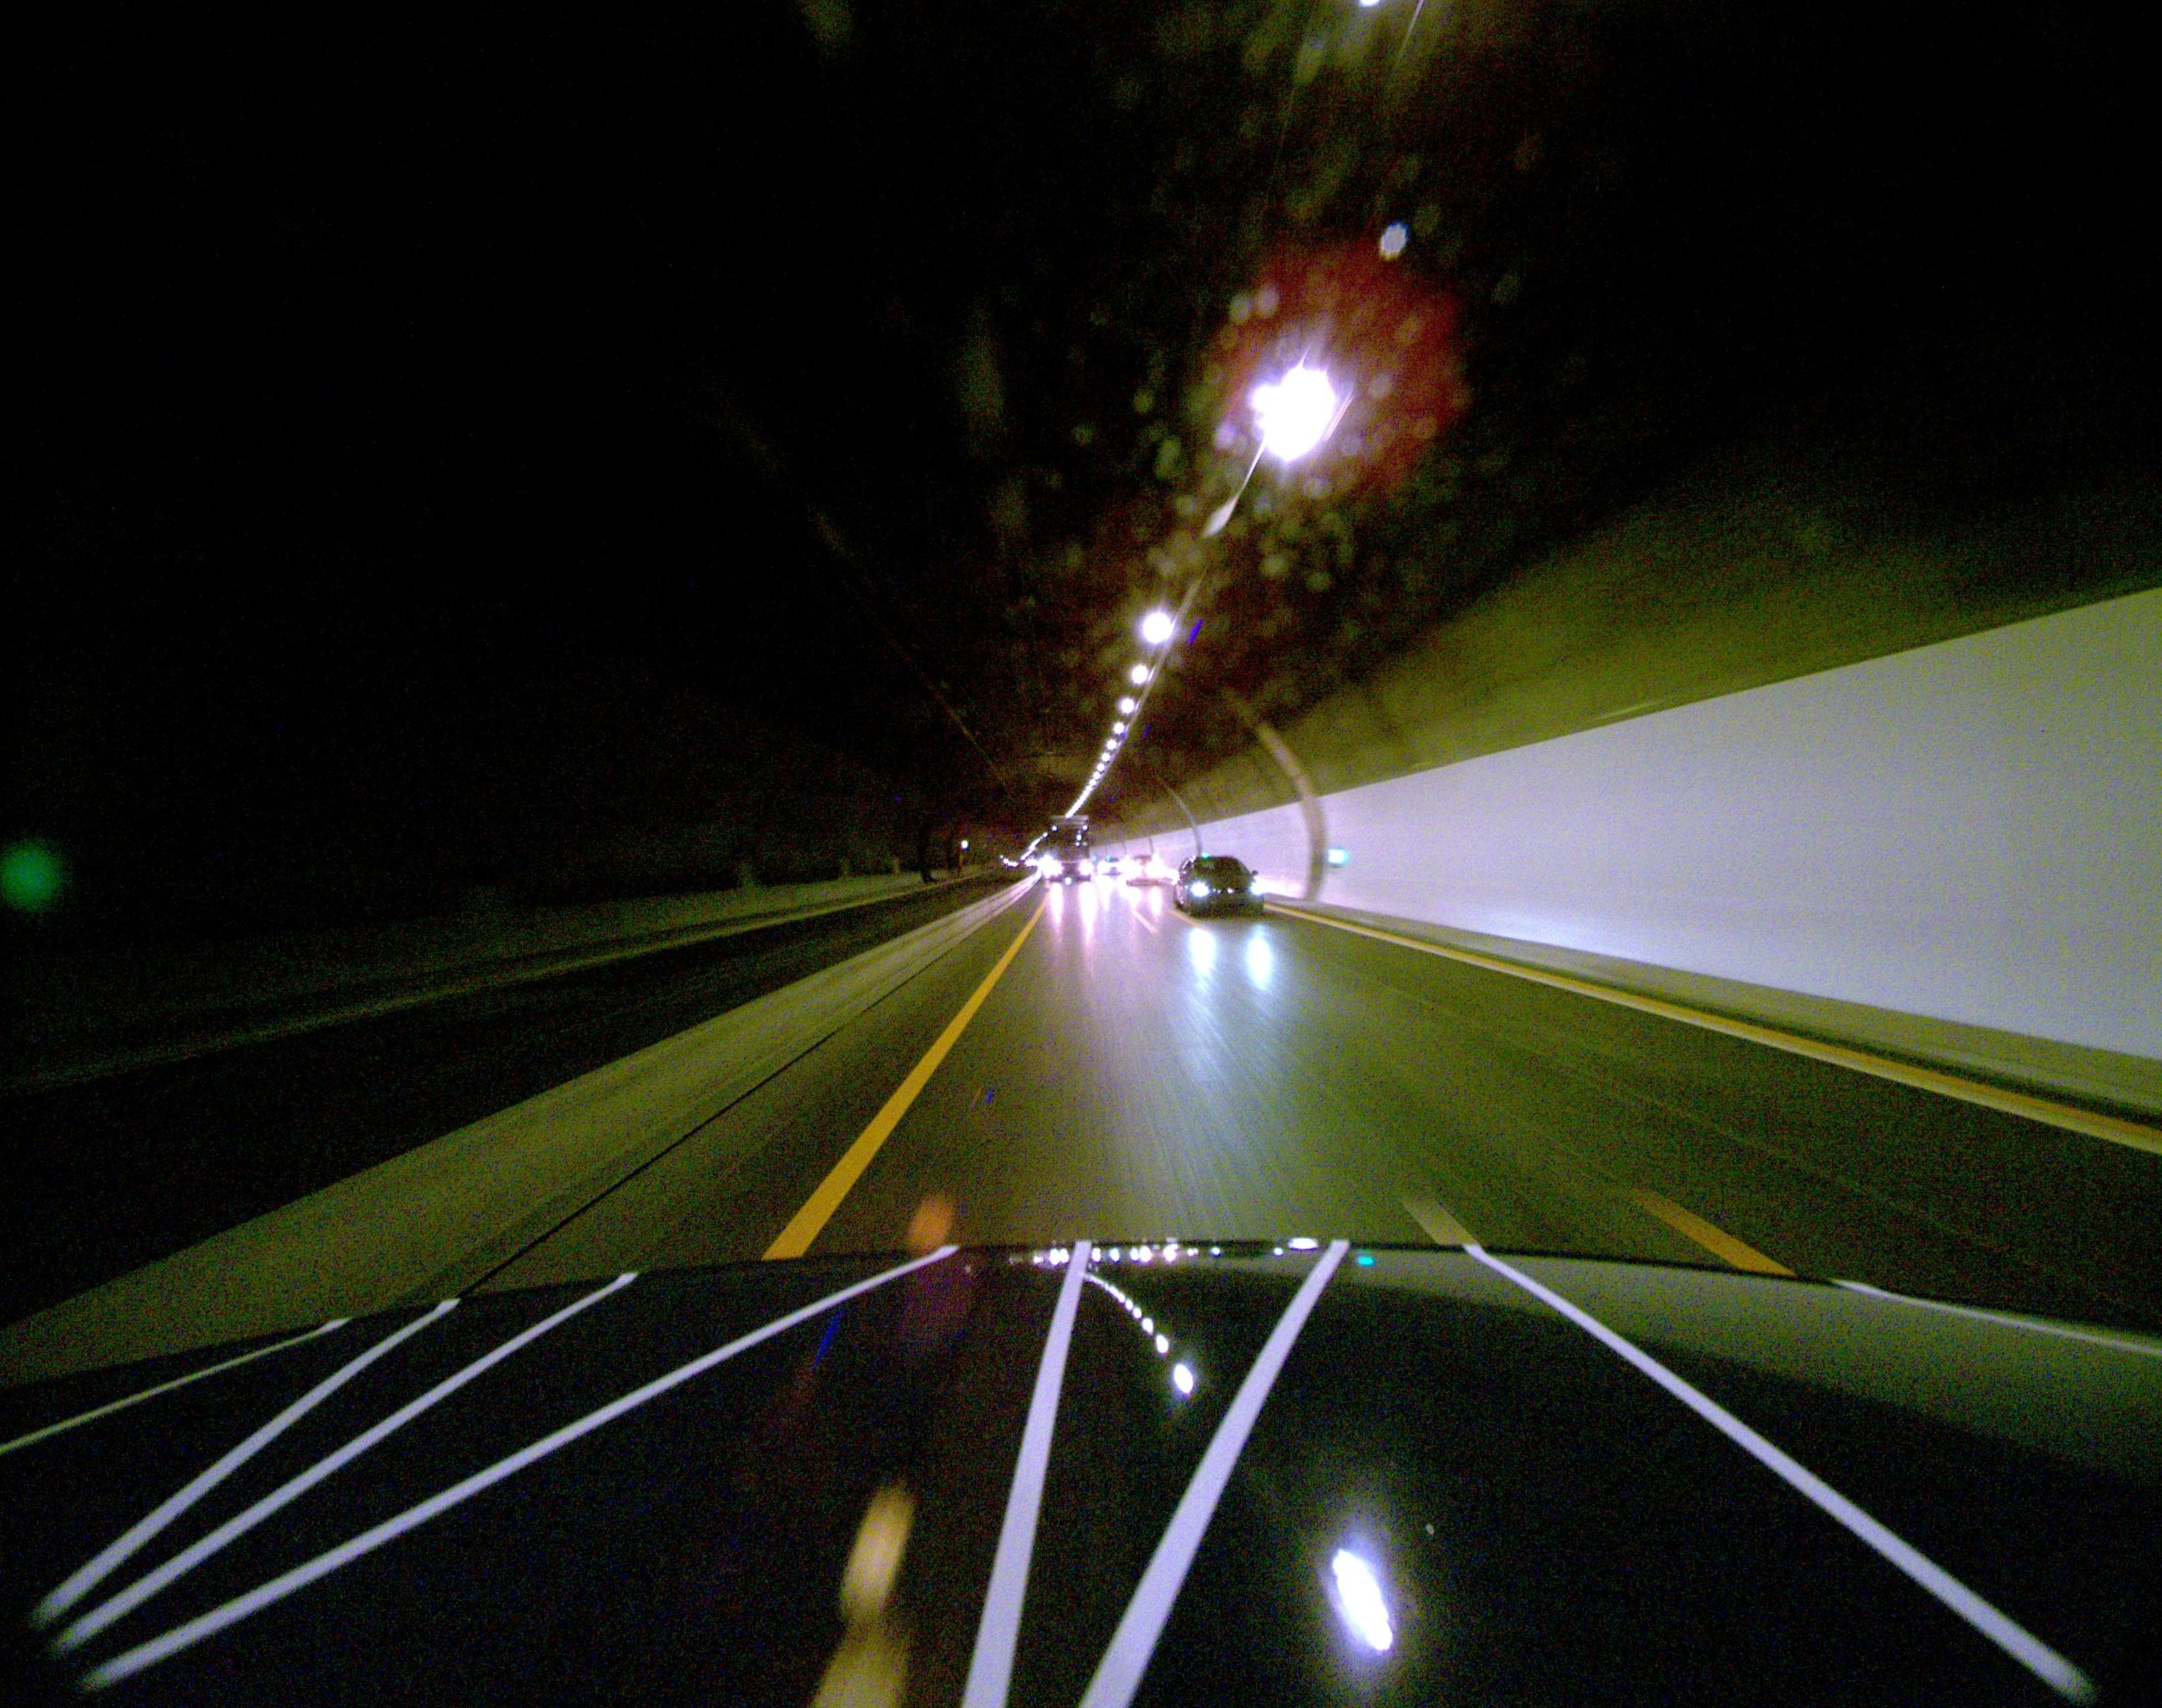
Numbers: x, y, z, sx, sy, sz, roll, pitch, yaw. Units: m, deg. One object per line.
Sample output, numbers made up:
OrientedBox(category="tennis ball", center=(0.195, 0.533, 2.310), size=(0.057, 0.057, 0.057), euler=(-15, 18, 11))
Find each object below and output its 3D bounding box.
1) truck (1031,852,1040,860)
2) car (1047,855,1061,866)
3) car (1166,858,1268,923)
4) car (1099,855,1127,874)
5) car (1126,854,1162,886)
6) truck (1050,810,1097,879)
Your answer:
OrientedBox(category="truck", center=(-15.067, 0.664, 250.356), size=(2.610, 2.723, 6.394), euler=(-2, 0, -6))
OrientedBox(category="car", center=(-4.181, 0.962, 117.562), size=(1.999, 1.524, 3.999), euler=(-2, 0, -2))
OrientedBox(category="car", center=(3.402, 0.857, 19.939), size=(1.782, 1.430, 4.882), euler=(-2, 0, 0))
OrientedBox(category="car", center=(2.601, 0.819, 61.981), size=(1.910, 1.412, 4.060), euler=(-2, 0, -2))
OrientedBox(category="car", center=(3.210, 0.792, 39.047), size=(1.531, 1.508, 2.651), euler=(-2, 0, -1))
OrientedBox(category="truck", center=(-0.580, -0.551, 50.215), size=(2.742, 4.127, 8.098), euler=(-2, 0, -2))
